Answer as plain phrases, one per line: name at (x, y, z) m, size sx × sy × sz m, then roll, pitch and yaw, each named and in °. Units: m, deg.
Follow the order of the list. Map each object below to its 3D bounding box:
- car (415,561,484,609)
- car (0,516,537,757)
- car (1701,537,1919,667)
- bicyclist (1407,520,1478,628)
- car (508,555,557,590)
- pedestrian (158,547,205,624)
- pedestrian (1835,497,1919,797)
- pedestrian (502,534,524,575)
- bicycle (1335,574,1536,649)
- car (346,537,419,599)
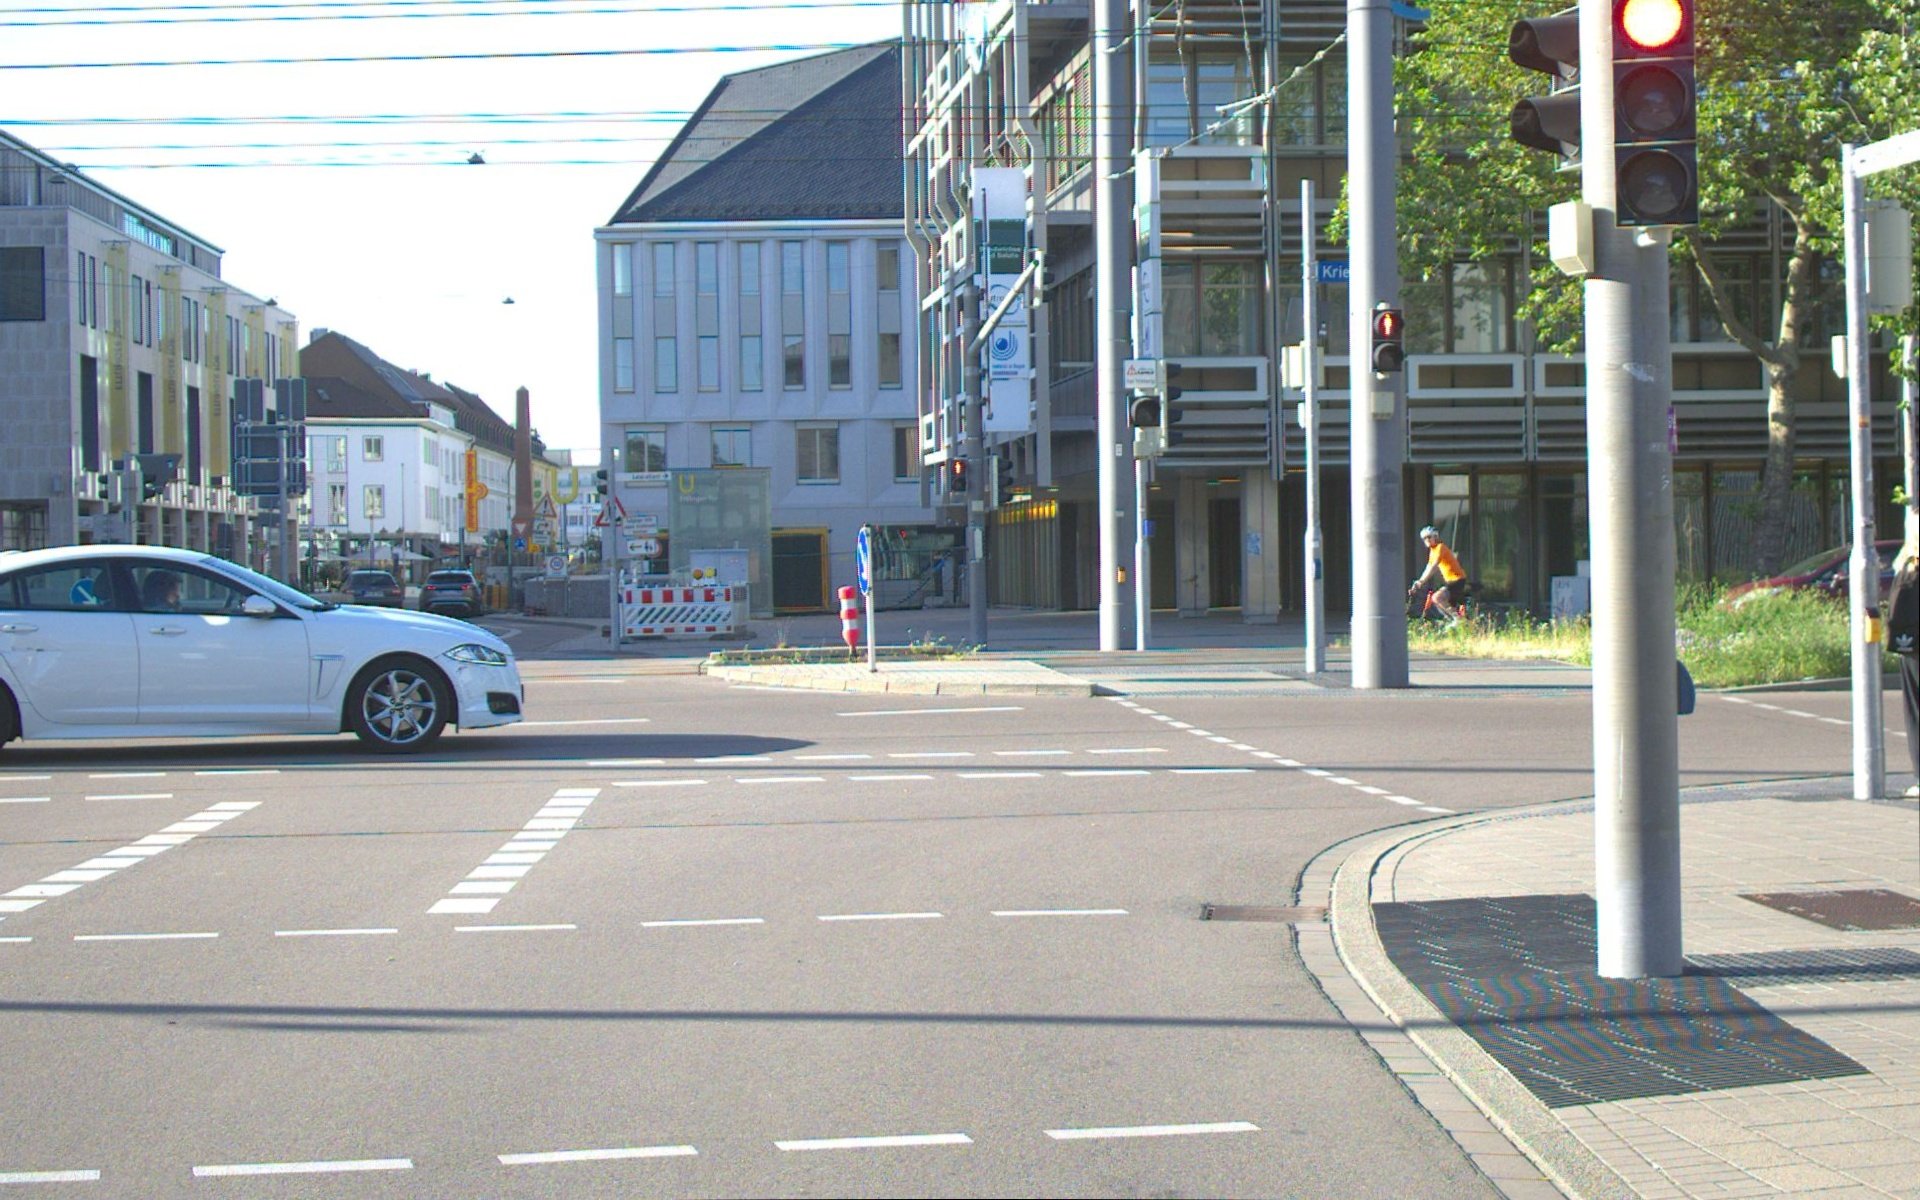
car at (-16.021, -0.486, 108.079) m, size 1.658 × 1.453 × 3.542 m, roll -1°, pitch 1°, yaw -1°
car at (-5.603, 0.231, 23.947) m, size 5.082 × 1.559 × 2.001 m, roll -1°, pitch 1°, yaw -13°
car at (12.392, -0.002, 46.419) m, size 4.287 × 1.678 × 1.826 m, roll -1°, pitch 1°, yaw -11°
bicyclist at (6.612, -0.360, 47.128) m, size 0.822 × 1.469 × 0.652 m, roll -1°, pitch 1°, yaw -4°
car at (-18.141, -1.171, 146.008) m, size 1.658 × 1.453 × 3.542 m, roll -1°, pitch 1°, yaw -1°
pedestrian at (-18.289, -0.345, 80.778) m, size 0.899 × 1.776 × 0.808 m, roll -1°, pitch 1°, yaw -1°
pedestrian at (5.330, 0.242, 18.927) m, size 0.765 × 1.608 × 0.874 m, roll -1°, pitch 1°, yaw -2°
pedestrian at (-21.401, -2.164, 164.685) m, size 0.910 × 1.958 × 0.823 m, roll 1°, pitch 0°, yaw -1°
bicycle at (6.510, 0.148, 47.121) m, size 2.568 × 0.972 × 1.047 m, roll -1°, pitch 1°, yaw -3°
car at (-16.181, -0.918, 96.463) m, size 1.819 × 1.678 × 4.001 m, roll -1°, pitch 1°, yaw -7°
